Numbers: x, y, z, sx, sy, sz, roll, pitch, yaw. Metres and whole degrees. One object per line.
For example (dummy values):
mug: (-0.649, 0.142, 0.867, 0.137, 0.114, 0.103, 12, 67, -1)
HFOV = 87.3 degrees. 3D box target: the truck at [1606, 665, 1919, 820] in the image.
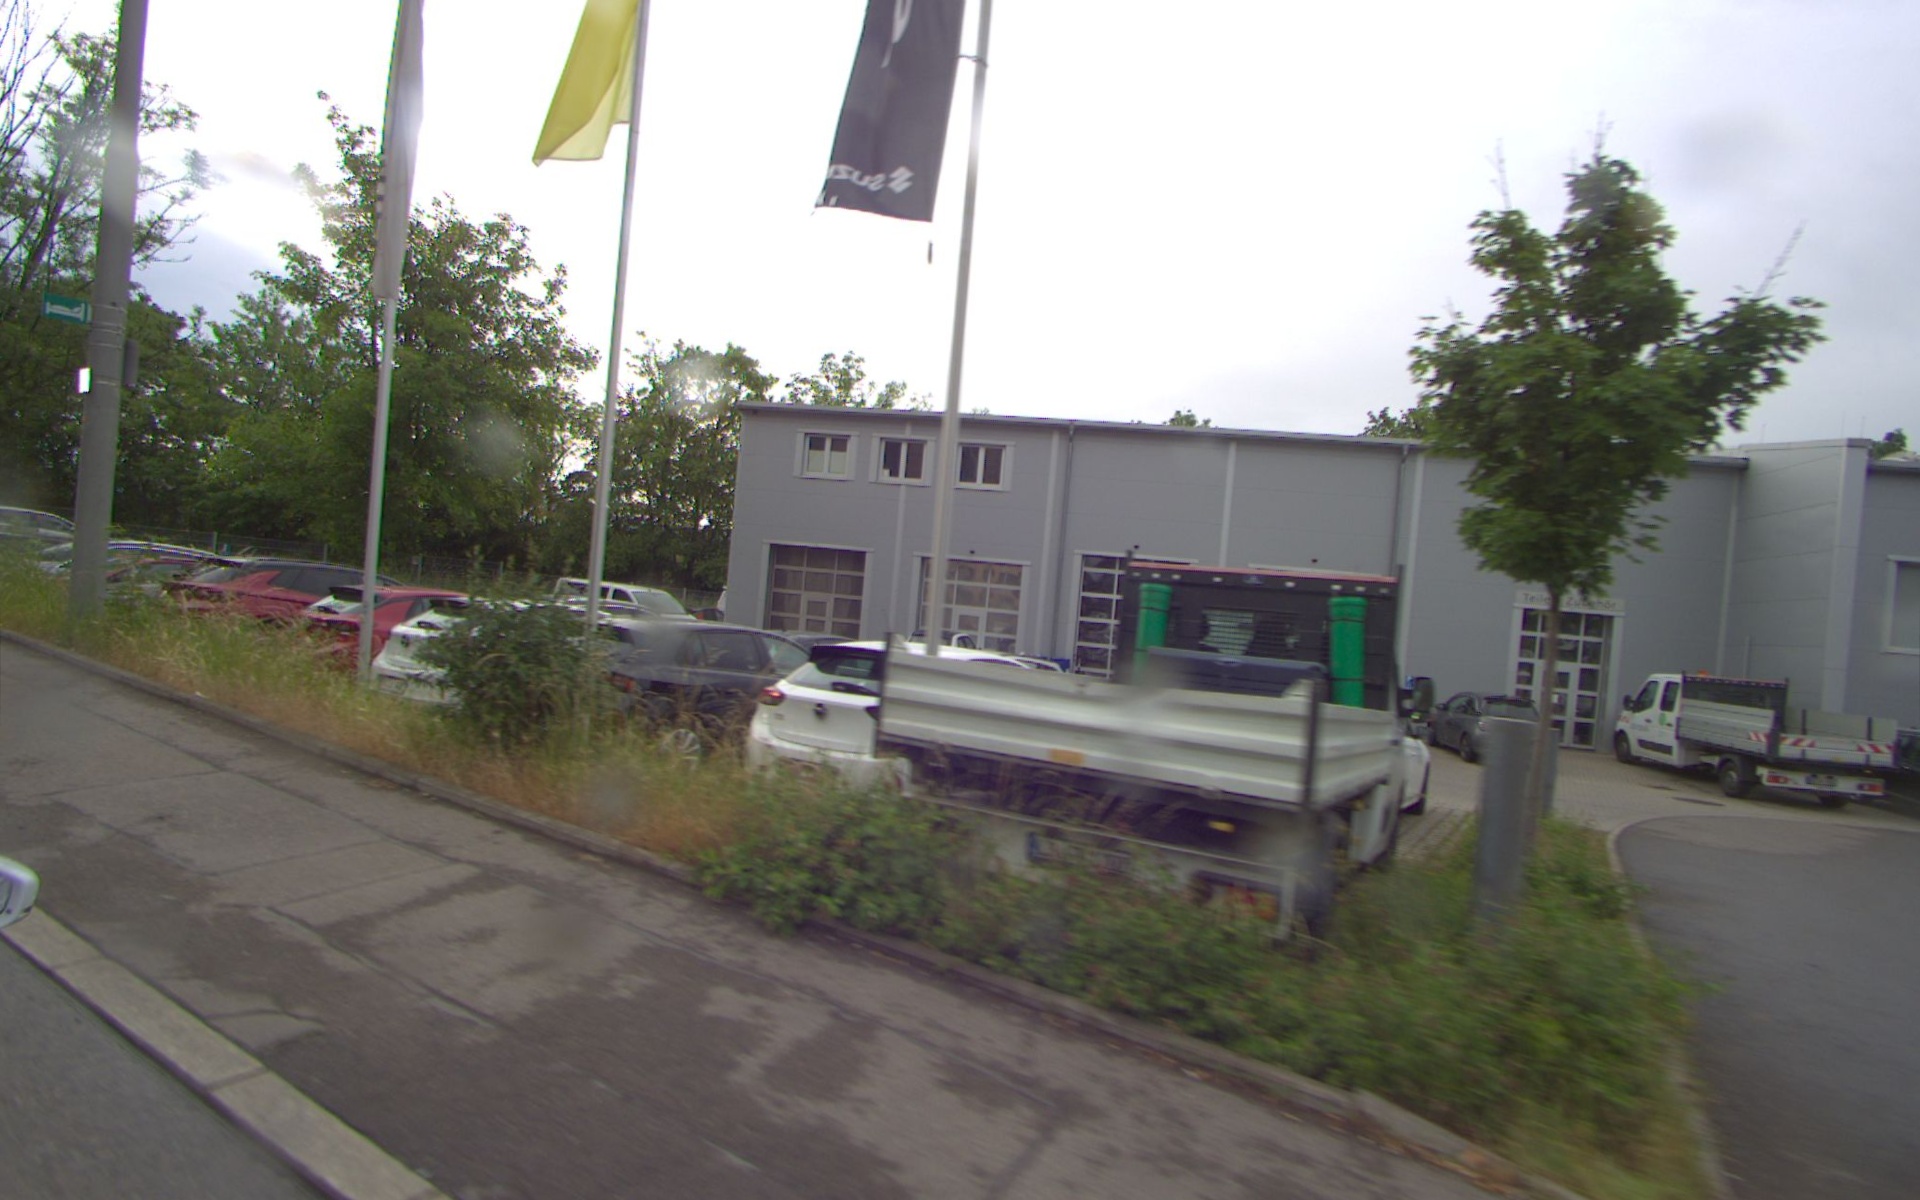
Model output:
truck: (16.255, 2.734, 21.035, 2.322, 2.265, 6.275, 3, 0, 10)

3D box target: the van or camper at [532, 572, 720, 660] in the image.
van or camper: (-9.745, 0.442, 29.145, 5.523, 1.810, 1.996, 7, 0, 32)

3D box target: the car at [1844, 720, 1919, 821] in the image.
car: (18.280, 3.253, 18.247, 1.795, 1.652, 4.001, 6, -1, 18)

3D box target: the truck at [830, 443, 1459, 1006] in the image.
truck: (1.726, 0.583, 6.576, 2.305, 2.038, 5.158, 7, -1, 29)

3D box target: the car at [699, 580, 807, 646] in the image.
car: (-7.545, 0.560, 37.173, 2.087, 2.038, 4.429, 7, -1, 13)

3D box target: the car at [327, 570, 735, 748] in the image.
car: (-4.606, 0.681, 11.312, 1.781, 1.512, 3.769, 7, -1, 33)

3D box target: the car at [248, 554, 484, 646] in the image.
car: (-12.776, 0.062, 21.897, 1.772, 1.540, 3.997, 7, -1, 26)

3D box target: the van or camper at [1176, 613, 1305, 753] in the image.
van or camper: (6.309, 1.708, 22.973, 2.244, 2.522, 5.284, 7, 2, 14)

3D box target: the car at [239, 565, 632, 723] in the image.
car: (-6.404, 0.608, 12.753, 1.731, 1.526, 3.993, 7, -1, 31)

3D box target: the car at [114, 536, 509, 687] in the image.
car: (-8.687, 0.258, 13.870, 1.731, 1.608, 4.135, 7, -1, 32)

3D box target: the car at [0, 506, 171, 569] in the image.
car: (-25.733, -1.808, 29.255, 1.772, 1.543, 3.989, 7, 3, 26)

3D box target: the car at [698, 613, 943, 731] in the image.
car: (-2.019, 1.128, 15.454, 1.604, 1.435, 3.626, 7, -1, 34)

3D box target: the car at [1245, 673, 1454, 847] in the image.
car: (4.768, 1.775, 12.010, 1.532, 1.537, 3.695, 7, -1, 32)

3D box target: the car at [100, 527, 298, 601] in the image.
car: (-21.288, -0.965, 28.321, 1.772, 1.540, 3.997, 7, -1, 26)

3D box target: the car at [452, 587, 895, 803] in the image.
car: (-2.508, 0.858, 9.785, 1.884, 1.471, 3.869, 7, -1, 28)

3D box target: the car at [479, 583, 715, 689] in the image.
car: (-6.370, 0.710, 18.018, 1.532, 1.537, 3.695, 7, -1, 32)

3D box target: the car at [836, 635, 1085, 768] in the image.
car: (0.139, 1.393, 14.129, 1.604, 1.435, 3.694, 7, -1, 34)

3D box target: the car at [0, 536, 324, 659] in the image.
car: (-13.017, 0.028, 16.423, 1.773, 1.540, 3.993, 7, -1, 31)

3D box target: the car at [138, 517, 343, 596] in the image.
car: (-19.106, -1.114, 26.910, 1.772, 1.540, 3.997, 7, -1, 26)

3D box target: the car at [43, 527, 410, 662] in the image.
car: (-10.798, 0.005, 15.122, 1.773, 1.540, 3.993, 7, -1, 31)

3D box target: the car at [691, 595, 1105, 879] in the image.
car: (-0.278, 1.028, 8.595, 1.706, 1.691, 3.699, 7, -1, 28)

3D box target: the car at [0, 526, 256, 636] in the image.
car: (-15.085, -0.319, 17.661, 1.772, 1.540, 3.997, 7, -1, 26)

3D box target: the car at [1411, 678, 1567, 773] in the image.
car: (11.849, 2.759, 22.840, 1.790, 1.570, 3.905, 7, -1, 8)

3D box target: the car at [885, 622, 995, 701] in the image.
car: (-0.436, 1.538, 26.377, 1.806, 1.622, 3.999, 7, 2, 13)
